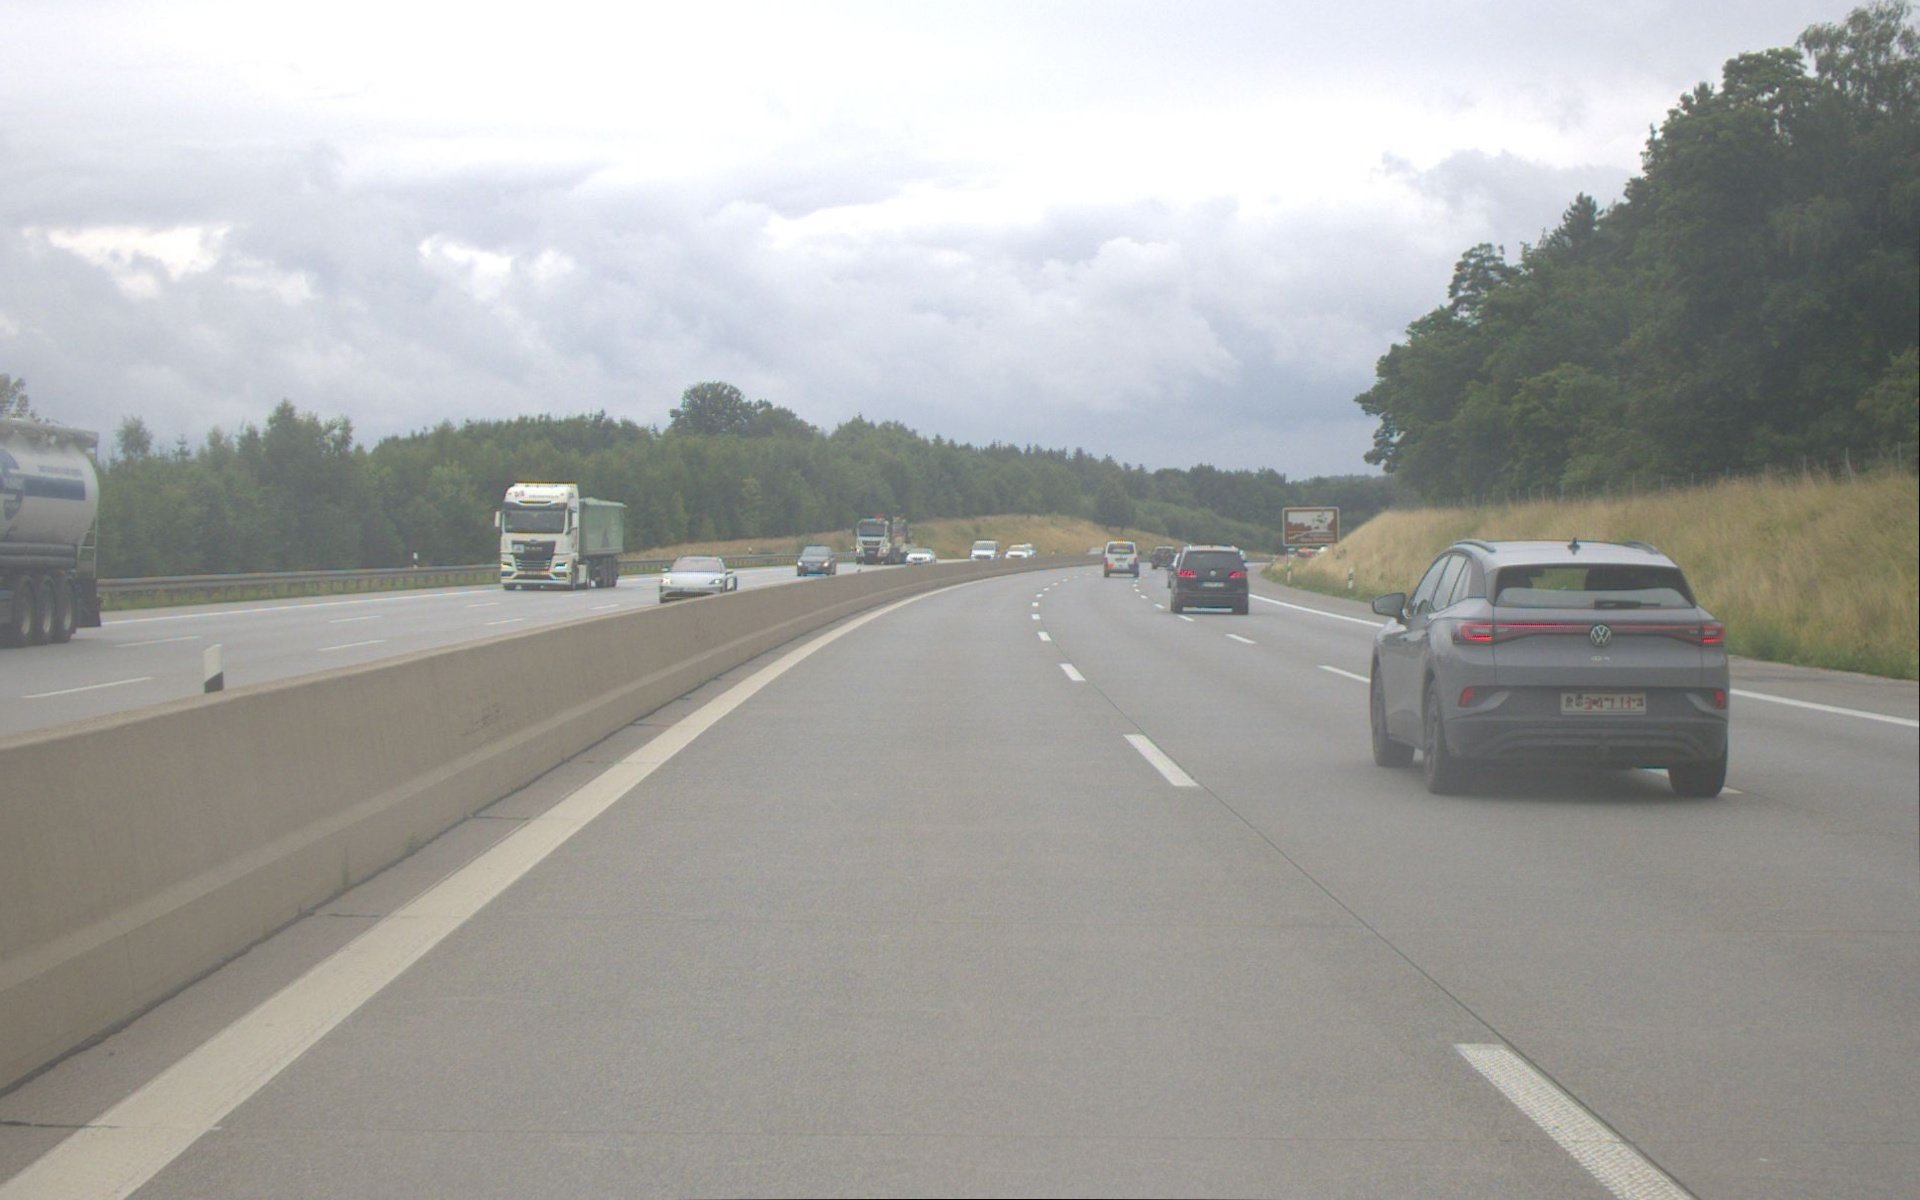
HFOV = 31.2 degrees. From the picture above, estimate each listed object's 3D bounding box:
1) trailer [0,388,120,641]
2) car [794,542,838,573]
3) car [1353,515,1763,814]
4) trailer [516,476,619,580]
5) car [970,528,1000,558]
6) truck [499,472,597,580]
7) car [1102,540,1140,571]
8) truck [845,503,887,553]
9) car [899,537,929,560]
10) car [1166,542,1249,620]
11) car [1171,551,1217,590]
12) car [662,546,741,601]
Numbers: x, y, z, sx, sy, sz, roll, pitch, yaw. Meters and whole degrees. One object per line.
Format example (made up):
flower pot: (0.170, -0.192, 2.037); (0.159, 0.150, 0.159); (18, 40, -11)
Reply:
trailer: (-16.474, -1.387, 55.855); (2.758, 3.985, 12.290); (1, 1, -1)
car: (-7.625, -2.285, 182.269); (1.993, 1.584, 4.771); (1, 1, 1)
car: (3.825, 0.316, 22.920); (1.898, 1.684, 5.266); (1, 2, 1)
trailer: (-14.816, -2.734, 130.423); (2.749, 3.787, 9.316); (0, 1, 1)
car: (1.835, -4.148, 250.072); (1.993, 2.006, 5.525); (2, 2, 2)
truck: (-14.924, -2.660, 124.821); (2.750, 3.789, 5.530); (1, 0, 1)
car: (8.797, -2.415, 187.527); (1.841, 1.495, 4.000); (-2, 2, 5)
truck: (-6.946, -5.336, 254.440); (2.586, 3.640, 7.660); (0, 1, 3)
car: (-3.207, -3.583, 239.031); (1.737, 1.363, 4.097); (3, 3, 3)
car: (6.154, -0.486, 85.786); (1.785, 1.741, 3.915); (-2, 2, 1)
car: (9.567, -1.221, 140.242); (1.801, 1.460, 3.810); (1, 2, 5)
car: (-7.724, -0.803, 103.071); (1.993, 1.436, 4.768); (2, 2, 0)
